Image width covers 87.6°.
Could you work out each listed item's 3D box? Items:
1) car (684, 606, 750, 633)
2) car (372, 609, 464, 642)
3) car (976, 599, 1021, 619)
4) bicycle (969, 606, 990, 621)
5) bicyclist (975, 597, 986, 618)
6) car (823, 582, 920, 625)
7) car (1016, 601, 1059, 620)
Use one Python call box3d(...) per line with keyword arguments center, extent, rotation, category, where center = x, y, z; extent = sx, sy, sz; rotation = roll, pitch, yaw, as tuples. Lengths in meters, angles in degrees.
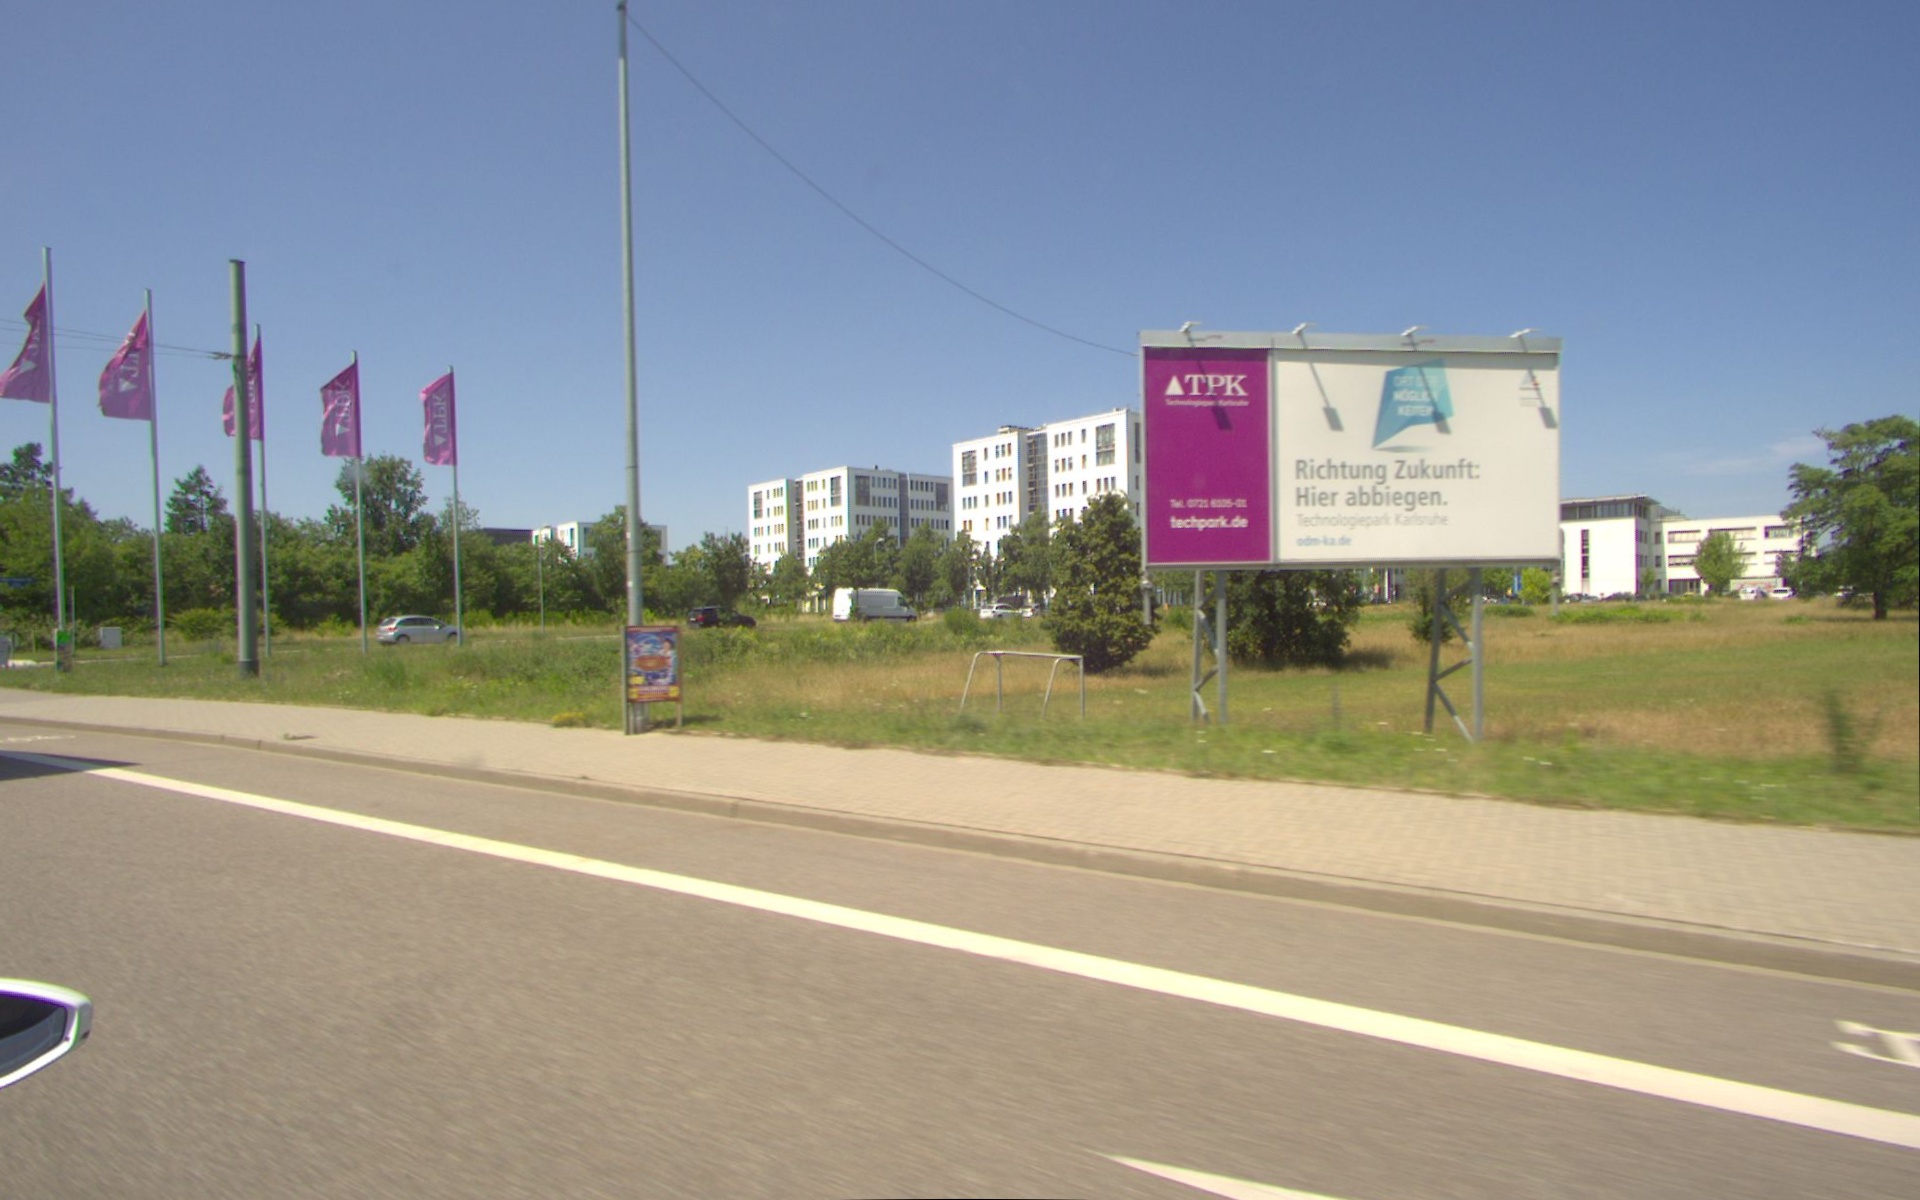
box3d(center=(-14.525, 1.174, 60.031), extent=(1.685, 1.552, 3.603), rotation=(-1, -2, 38), category="car")
box3d(center=(-26.407, 1.249, 48.822), extent=(1.687, 1.552, 3.598), rotation=(-1, -2, 42), category="car")
box3d(center=(3.094, 0.751, 79.970), extent=(1.688, 1.552, 3.596), rotation=(-1, -2, 44), category="car")
box3d(center=(1.573, 1.076, 80.992), extent=(0.607, 1.196, 1.948), rotation=(3, 3, 43), category="bicycle")
box3d(center=(1.650, 0.600, 81.068), extent=(0.602, 1.646, 0.686), rotation=(3, 3, 43), category="bicyclist")
box3d(center=(-6.109, 0.263, 70.182), extent=(2.639, 2.838, 6.795), rotation=(-2, -2, 42), category="car")
box3d(center=(6.469, 0.901, 83.755), extent=(1.688, 1.552, 3.596), rotation=(-1, -2, 44), category="car")
